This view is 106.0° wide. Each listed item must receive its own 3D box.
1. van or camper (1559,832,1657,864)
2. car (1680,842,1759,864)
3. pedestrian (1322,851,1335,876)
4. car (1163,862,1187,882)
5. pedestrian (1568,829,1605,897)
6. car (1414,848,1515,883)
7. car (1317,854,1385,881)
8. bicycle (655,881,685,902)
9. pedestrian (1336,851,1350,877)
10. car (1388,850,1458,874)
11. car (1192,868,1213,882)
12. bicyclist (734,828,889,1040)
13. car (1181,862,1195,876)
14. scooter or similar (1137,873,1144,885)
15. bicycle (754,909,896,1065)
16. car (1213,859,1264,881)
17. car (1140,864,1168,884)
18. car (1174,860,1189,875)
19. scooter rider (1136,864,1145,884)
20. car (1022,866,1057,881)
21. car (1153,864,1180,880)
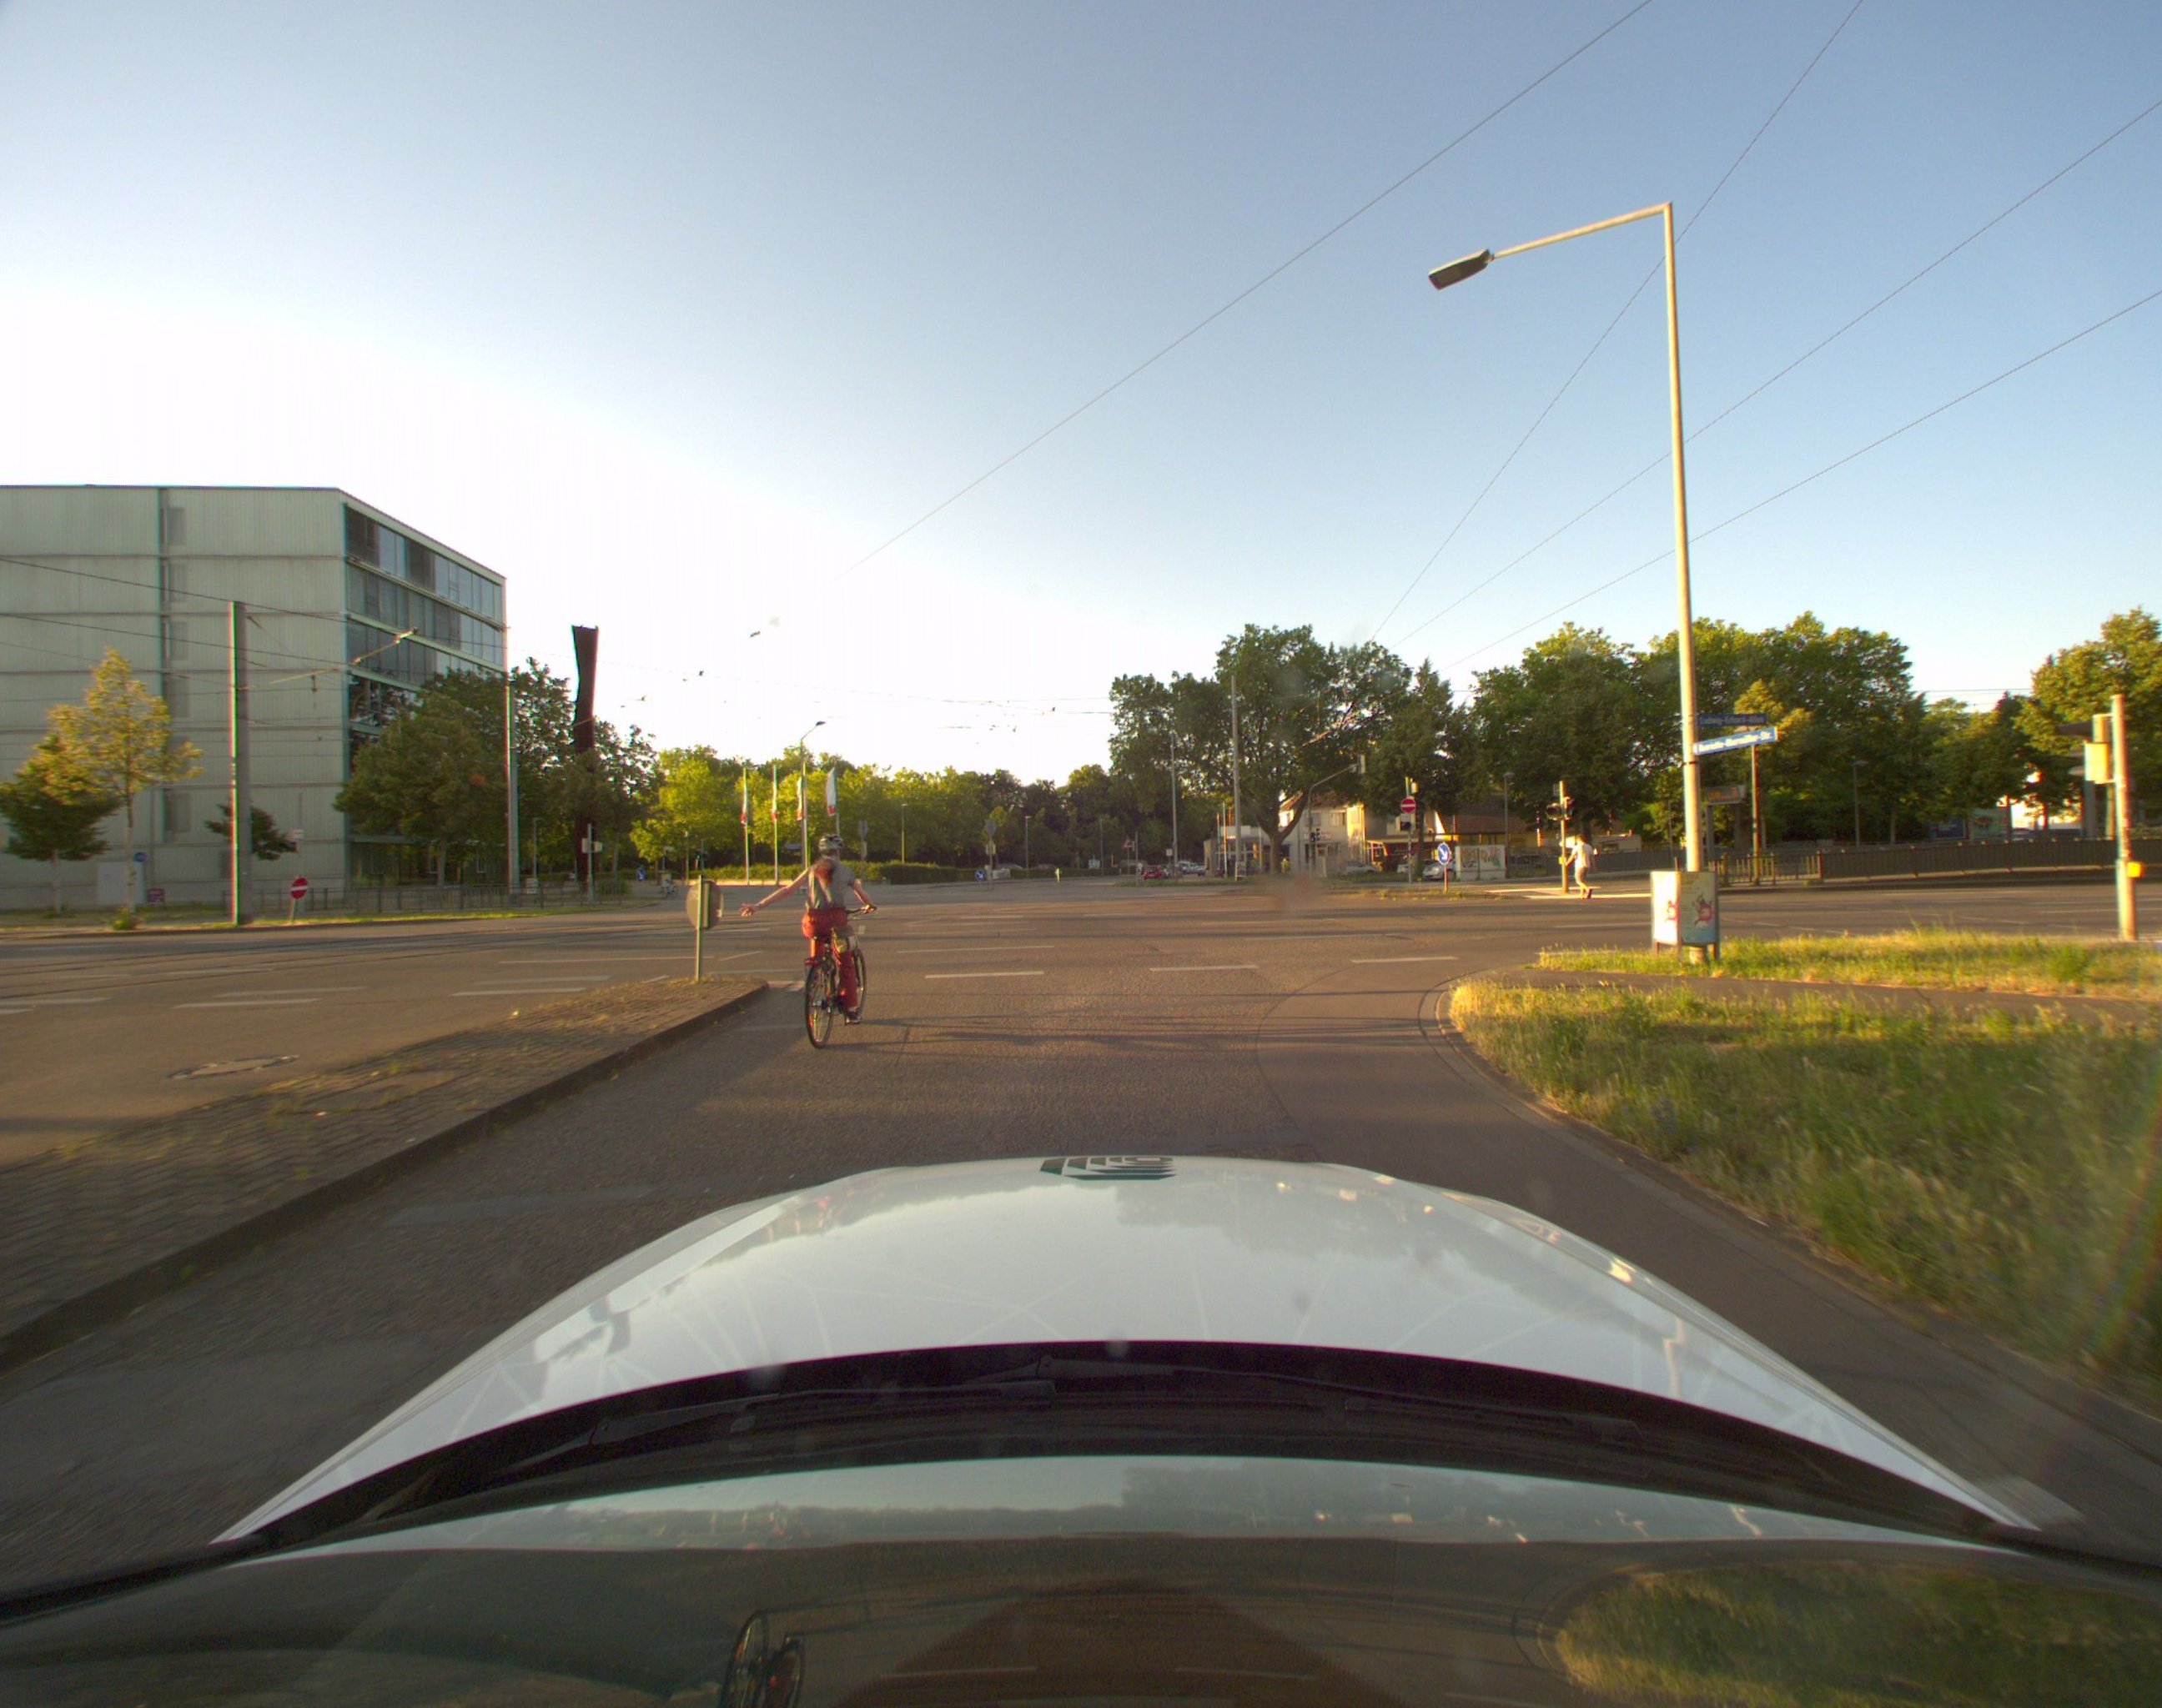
[{"bbox_3d":[43.388,-0.484,67.165,6.537,2.410,2.265,-2,-2,2],"label":"van or camper"},{"bbox_3d":[46.988,-0.046,59.964,4.215,1.465,2.000,-2,-1,1],"label":"car"},{"bbox_3d":[16.957,0.661,55.707,0.712,1.639,0.902,-2,-1,22],"label":"pedestrian"},{"bbox_3d":[10.340,1.973,89.498,1.900,2.047,4.017,-2,-1,16],"label":"car"},{"bbox_3d":[13.559,0.248,21.867,0.754,1.791,0.807,-1,-1,28],"label":"pedestrian"},{"bbox_3d":[20.439,0.620,43.484,4.528,1.728,1.858,-2,-1,-6],"label":"car"},{"bbox_3d":[19.538,0.983,58.998,4.215,1.846,2.000,-2,-1,1],"label":"car"},{"bbox_3d":[-24.320,2.215,48.203,0.698,1.136,2.389,-1,-1,-4],"label":"bicycle"},{"bbox_3d":[17.579,0.669,54.621,0.712,1.754,0.902,-2,-1,22],"label":"pedestrian"},{"bbox_3d":[24.568,0.602,58.609,4.215,1.577,2.000,-2,-1,1],"label":"car"},{"bbox_3d":[15.146,2.605,101.359,1.900,1.603,4.017,-2,-1,16],"label":"car"},{"bbox_3d":[-2.348,0.665,7.246,1.029,1.718,0.995,-2,-1,-2],"label":"bicyclist"},{"bbox_3d":[16.035,2.218,122.139,1.984,2.014,4.006,-2,-1,6],"label":"car"},{"bbox_3d":[5.780,2.393,78.843,0.509,1.090,1.242,-2,-1,-2],"label":"scooter or similar"},{"bbox_3d":[-2.203,1.087,7.309,0.632,1.068,2.120,-2,-1,-2],"label":"bicycle"},{"bbox_3d":[14.505,1.489,75.302,4.358,1.835,1.950,-2,-1,3],"label":"car"},{"bbox_3d":[7.380,2.029,81.804,1.853,1.875,3.893,-2,-1,19],"label":"car"},{"bbox_3d":[14.535,1.963,117.515,1.984,2.014,4.006,-2,-1,6],"label":"car"},{"bbox_3d":[5.758,1.917,78.805,0.700,1.855,0.668,-1,-2,-2],"label":"scooter rider"},{"bbox_3d":[-4.799,2.281,95.179,3.974,1.561,1.999,-2,-1,0],"label":"car"},{"bbox_3d":[8.979,1.926,85.631,1.977,1.574,4.019,-2,-1,18],"label":"car"}]
